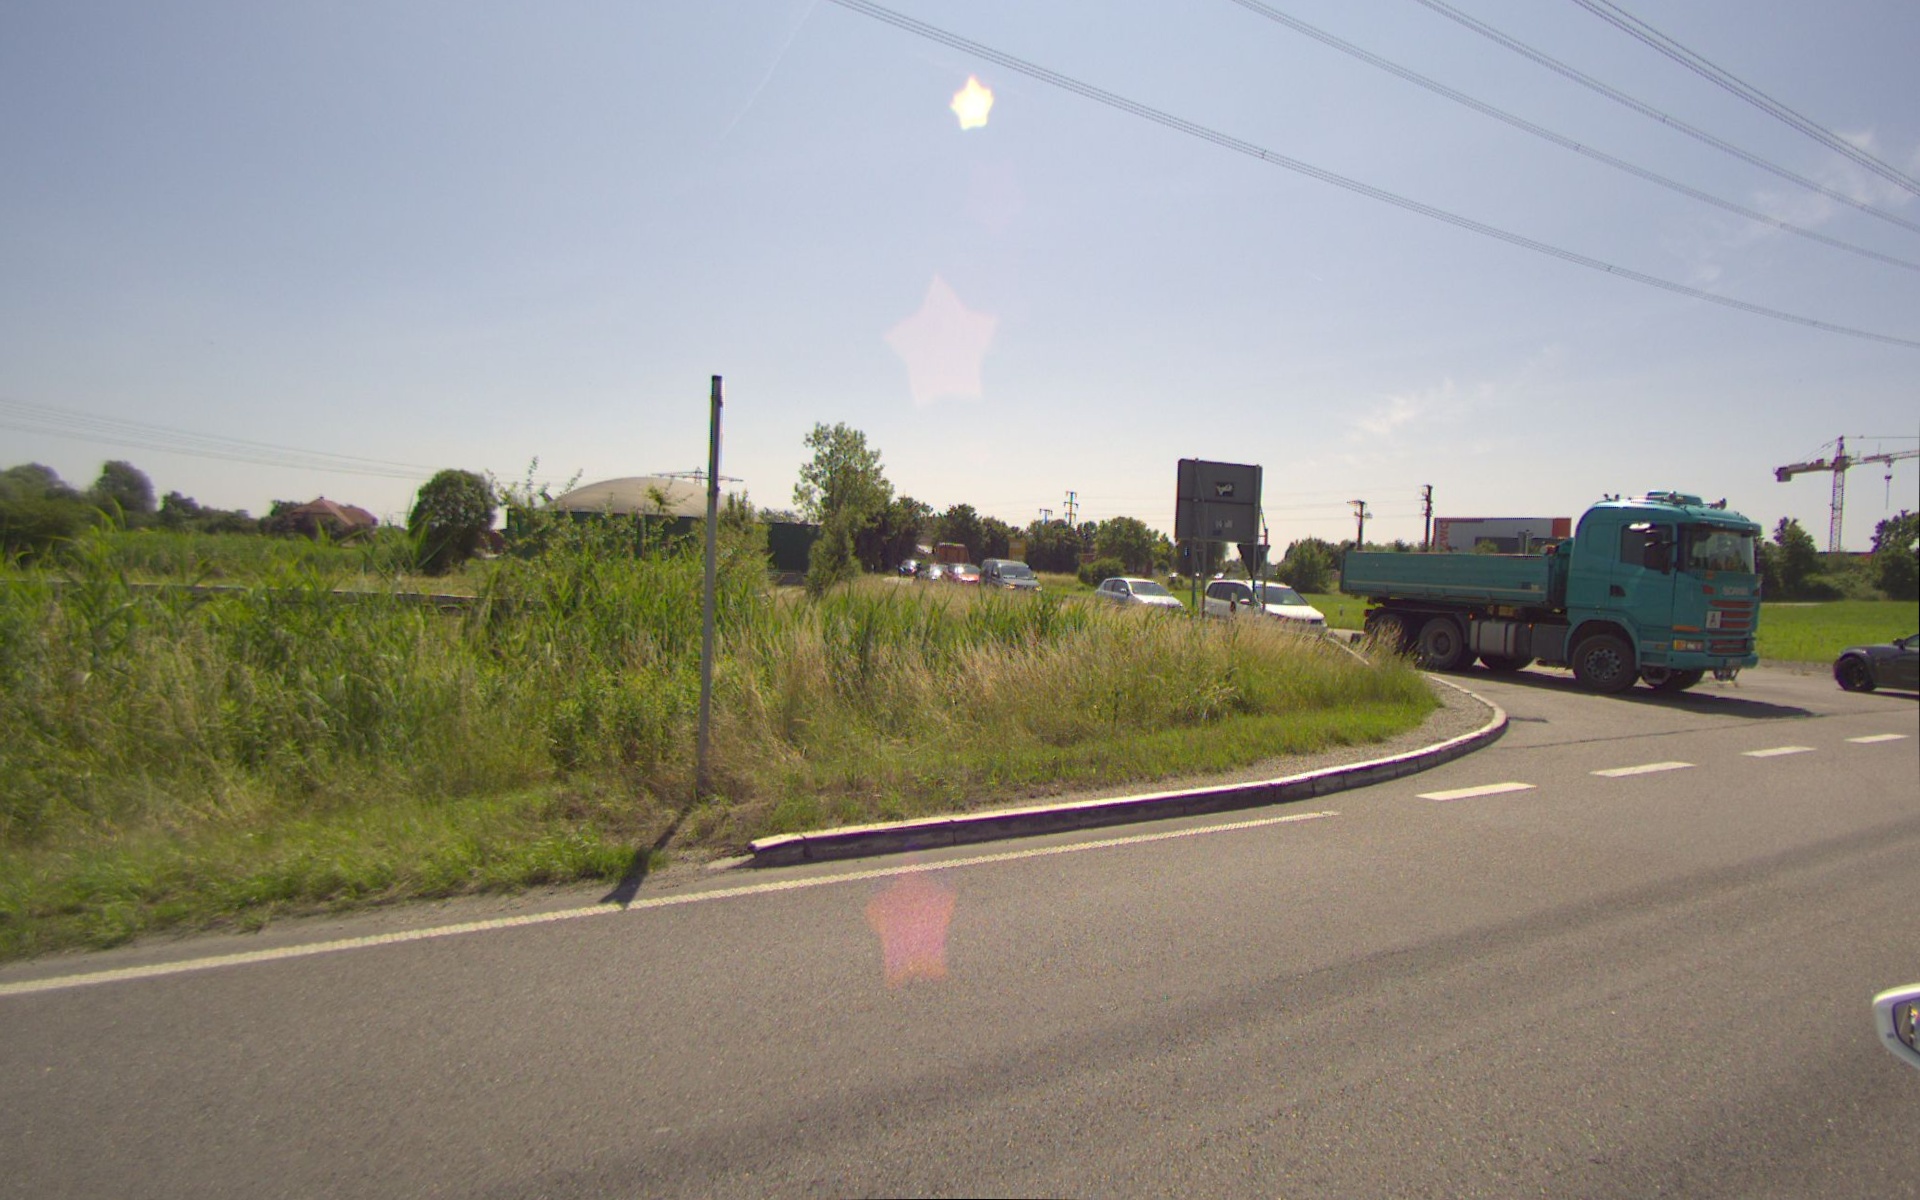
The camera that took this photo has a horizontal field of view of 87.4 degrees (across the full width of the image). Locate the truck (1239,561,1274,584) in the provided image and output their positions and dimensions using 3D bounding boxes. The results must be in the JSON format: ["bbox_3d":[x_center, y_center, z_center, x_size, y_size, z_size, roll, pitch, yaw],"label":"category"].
[{"bbox_3d":[66.923,-6.122,226.574,3.627,4.708,13.202,3,1,34],"label":"truck"}]

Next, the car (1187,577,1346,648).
[{"bbox_3d":[8.093,0.268,27.057,1.935,1.634,4.540,2,2,-15],"label":"car"}]

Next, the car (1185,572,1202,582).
[{"bbox_3d":[43.830,-4.333,188.545,1.964,1.702,3.993,2,1,29],"label":"car"}]

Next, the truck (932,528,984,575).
[{"bbox_3d":[-0.270,-3.677,78.473,2.777,3.332,9.686,1,1,-8],"label":"truck"}]

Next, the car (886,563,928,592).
[{"bbox_3d":[-3.304,-1.369,61.660,1.965,1.691,3.990,2,1,-12],"label":"car"}]

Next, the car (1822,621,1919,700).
[{"bbox_3d":[19.083,1.220,18.885,1.825,1.415,4.654,2,1,2],"label":"car"}]

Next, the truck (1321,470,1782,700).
[{"bbox_3d":[11.423,-0.422,20.569,2.466,3.785,7.872,1,3,-27],"label":"truck"}]

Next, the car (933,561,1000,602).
[{"bbox_3d":[0.272,-0.932,49.483,1.886,1.874,4.463,2,2,-19],"label":"car"}]

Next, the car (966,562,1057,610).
[{"bbox_3d":[2.117,-0.654,43.007,2.057,1.893,4.927,0,2,-21],"label":"car"}]

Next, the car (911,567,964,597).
[{"bbox_3d":[-1.272,-0.996,55.221,1.754,1.498,3.982,2,2,-19],"label":"car"}]

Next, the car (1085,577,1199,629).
[{"bbox_3d":[5.832,0.054,32.829,1.692,1.490,4.427,2,1,-19],"label":"car"}]
